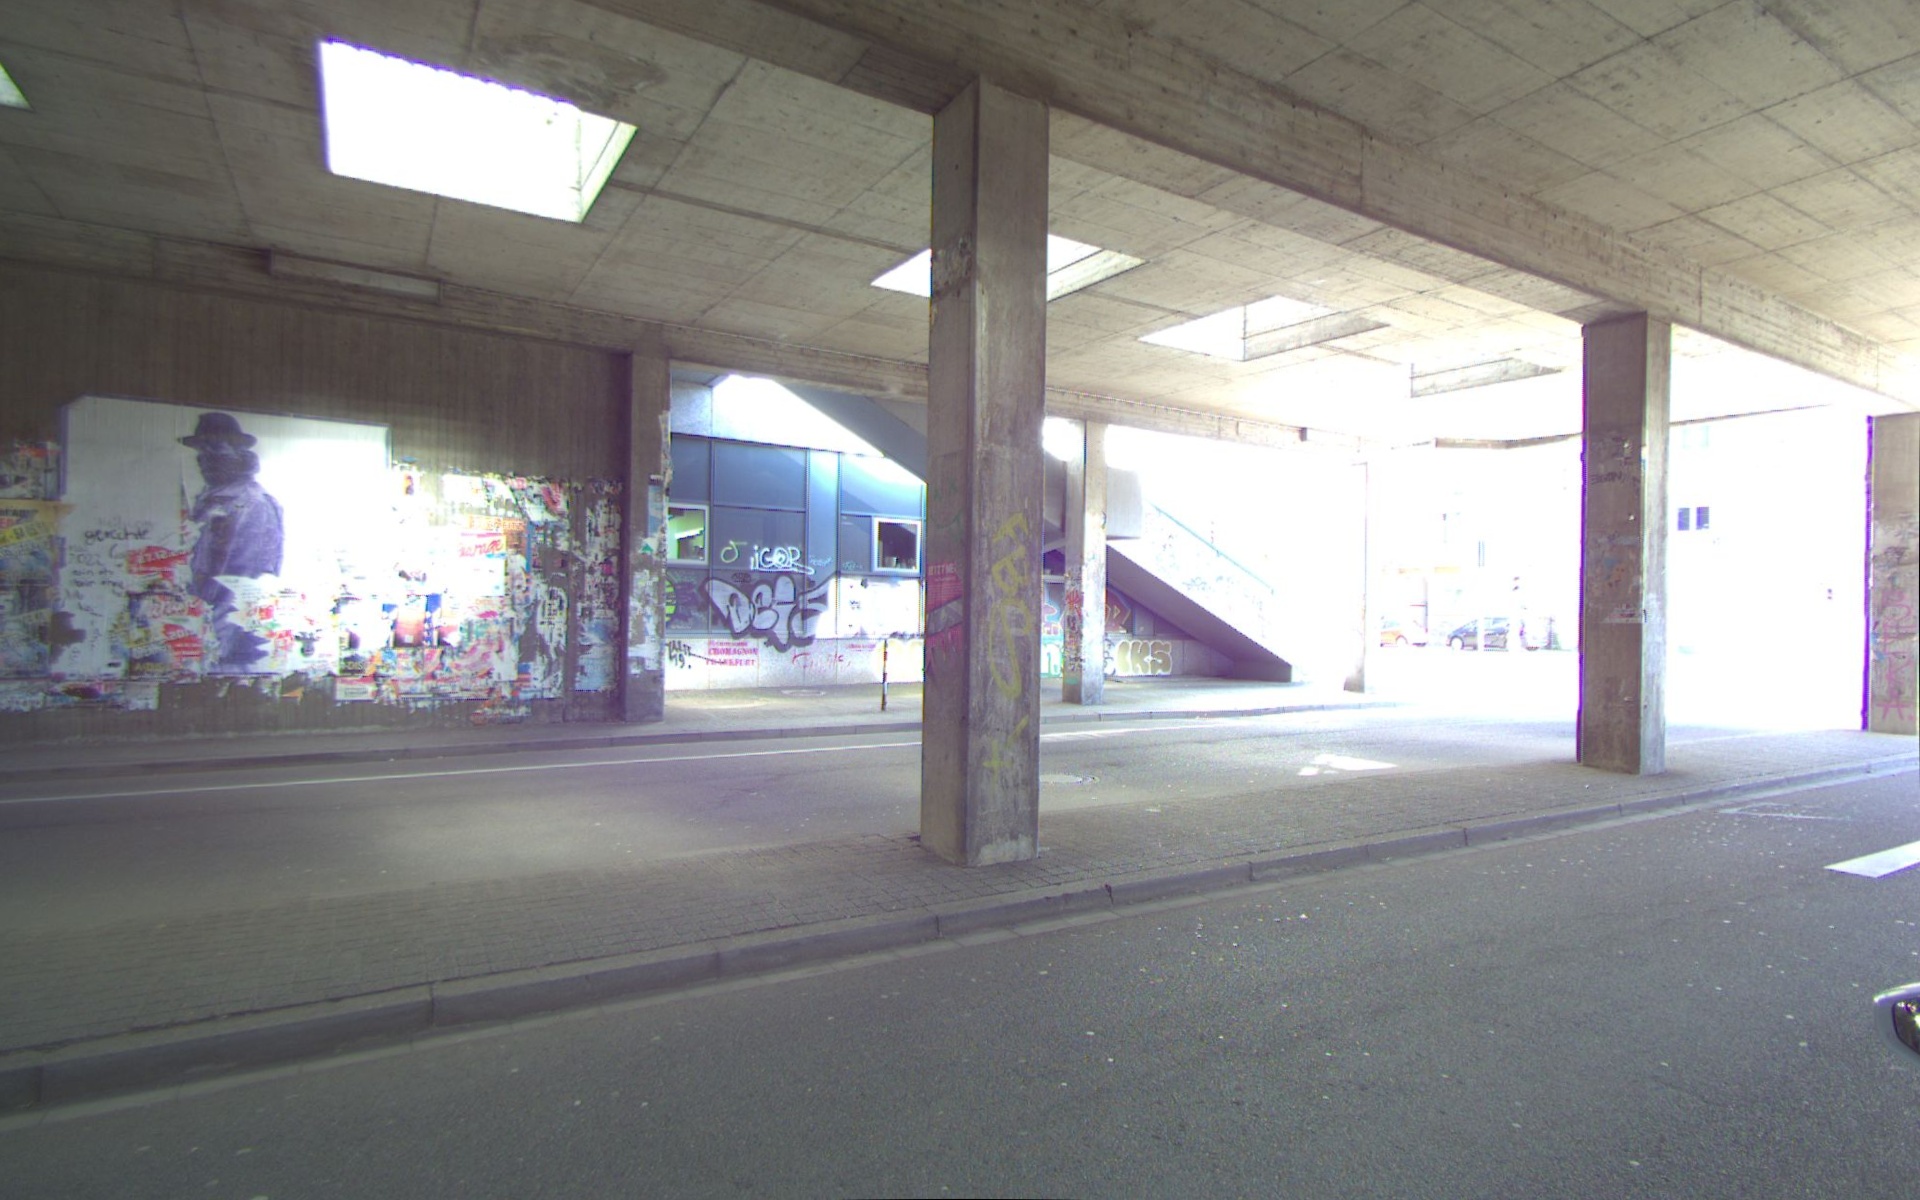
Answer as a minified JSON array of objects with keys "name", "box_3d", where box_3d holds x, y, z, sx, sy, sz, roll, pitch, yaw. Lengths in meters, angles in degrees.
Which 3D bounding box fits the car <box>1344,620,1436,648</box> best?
[{"name":"car","box_3d":[22.510,1.768,52.675,2.163,1.392,3.971,1,-1,-28]}]

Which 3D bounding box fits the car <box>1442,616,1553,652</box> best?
[{"name":"car","box_3d":[25.432,1.578,47.665,2.240,1.571,4.111,1,-1,-29]}]
